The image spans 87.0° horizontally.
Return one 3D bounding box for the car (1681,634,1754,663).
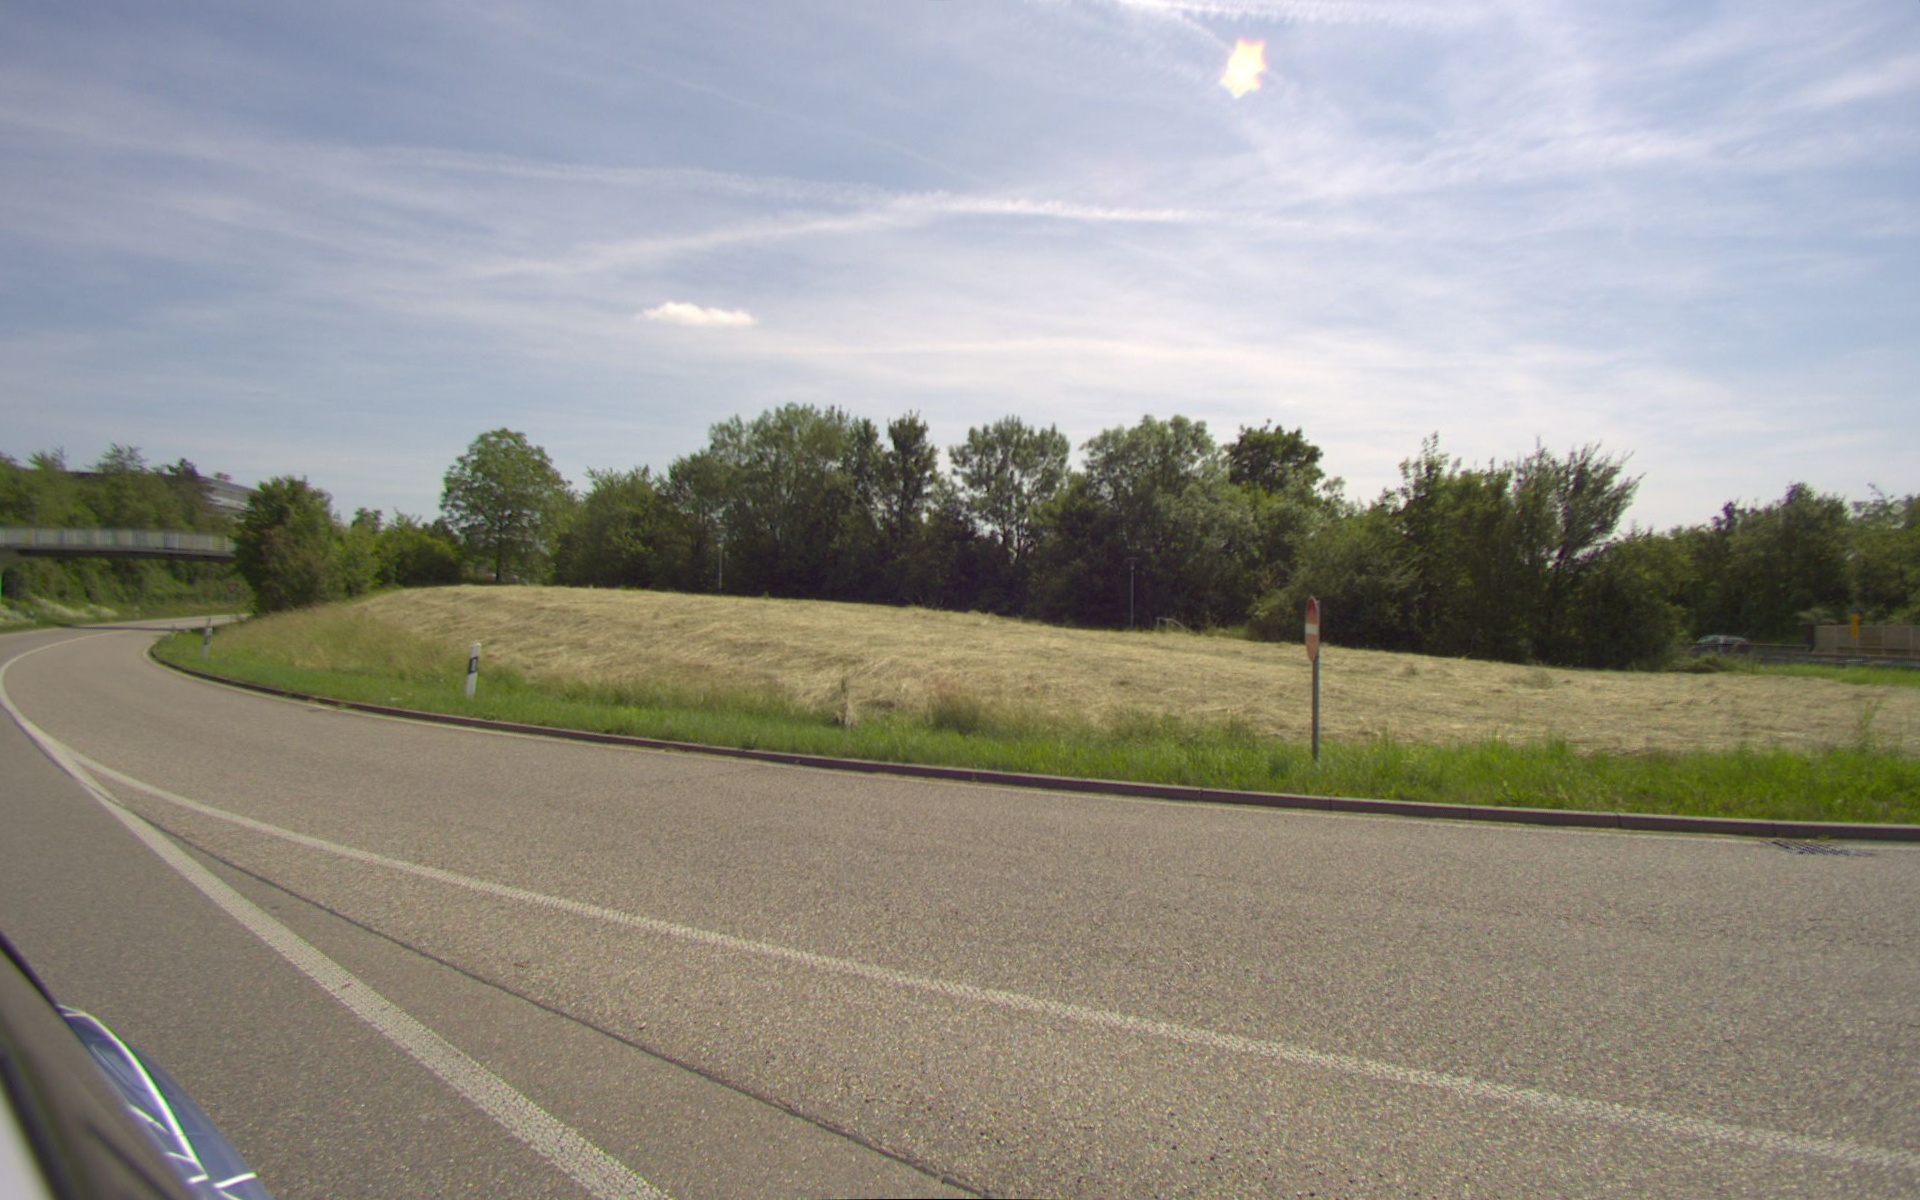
[{"bbox_3d":[42.711,2.694,57.172,1.737,1.550,4.090,-1,-1,12],"label":"car"}]
